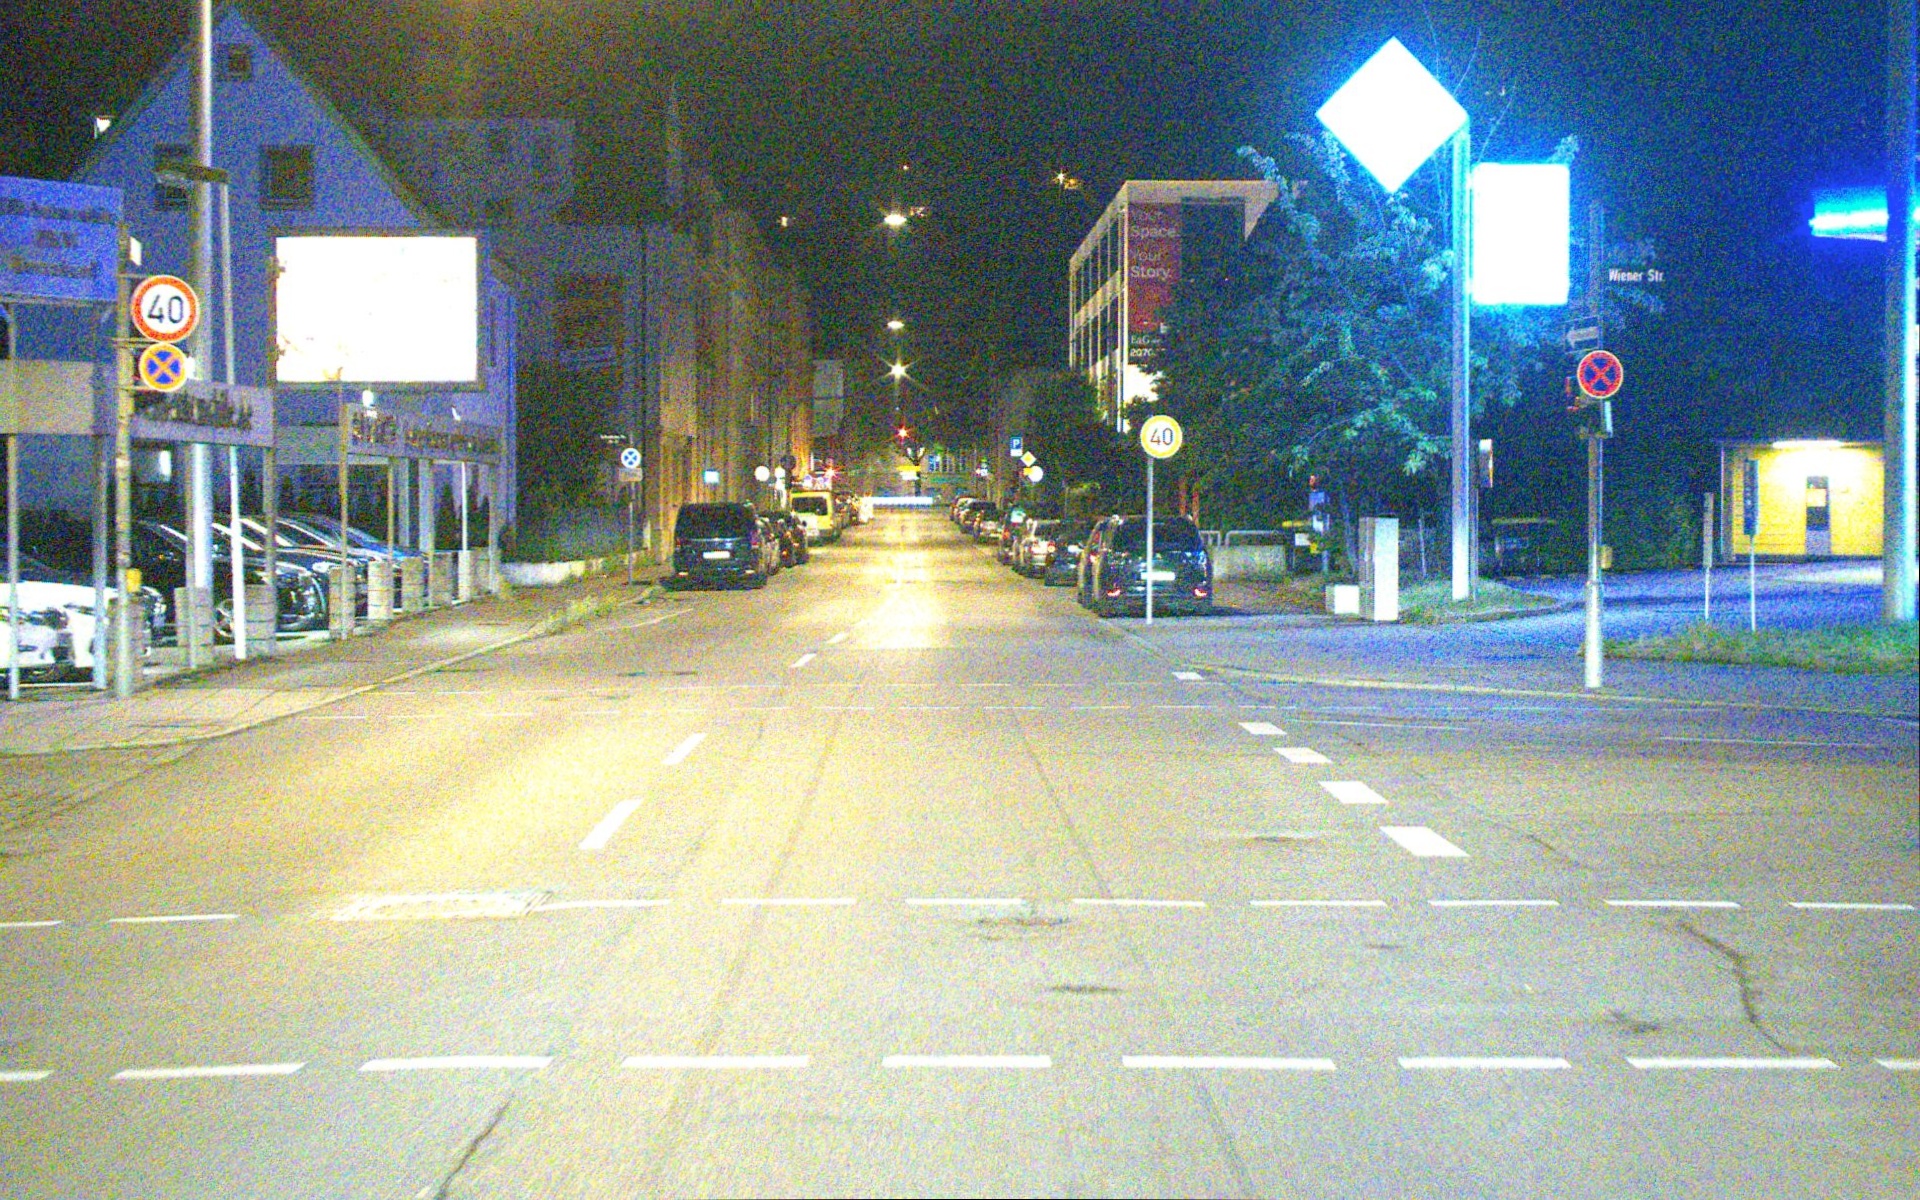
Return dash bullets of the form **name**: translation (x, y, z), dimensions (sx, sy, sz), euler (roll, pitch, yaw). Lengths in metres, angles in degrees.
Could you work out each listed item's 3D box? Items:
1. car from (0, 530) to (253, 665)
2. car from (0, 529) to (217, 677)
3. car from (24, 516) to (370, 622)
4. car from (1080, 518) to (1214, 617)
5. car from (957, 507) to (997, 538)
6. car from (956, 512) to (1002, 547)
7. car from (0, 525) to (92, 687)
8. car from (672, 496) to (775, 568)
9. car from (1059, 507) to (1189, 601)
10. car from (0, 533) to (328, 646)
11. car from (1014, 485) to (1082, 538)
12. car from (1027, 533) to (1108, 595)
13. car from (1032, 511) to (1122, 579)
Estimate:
- **car**: translation (-10.209, -0.047, 37.908), dimensions (4.439, 1.444, 2.000), euler (0, 1, -1)
- **car**: translation (-9.930, 0.009, 34.732), dimensions (4.438, 1.444, 2.000), euler (0, 1, -2)
- **car**: translation (-10.670, -0.439, 48.317), dimensions (4.439, 1.444, 2.000), euler (0, 1, -1)
- **car**: translation (3.001, -0.559, 55.771), dimensions (1.993, 1.511, 4.000), euler (1, 2, 1)
- **car**: translation (0.886, -3.931, 174.973), dimensions (1.993, 1.515, 4.000), euler (0, 1, 1)
- **car**: translation (0.870, -3.101, 151.866), dimensions (1.993, 1.515, 4.000), euler (0, 1, 1)
- **car**: translation (-10.476, 0.035, 31.742), dimensions (4.439, 1.444, 2.000), euler (0, 1, -1)
- **car**: translation (-5.082, -1.455, 74.289), dimensions (1.993, 1.497, 4.000), euler (0, 1, -1)
- **car**: translation (2.885, -0.846, 61.301), dimensions (1.993, 1.590, 4.001), euler (1, 2, -2)
- **car**: translation (-10.750, -0.151, 45.478), dimensions (4.439, 1.444, 2.000), euler (0, 1, -1)
- **car**: translation (2.626, -2.636, 102.994), dimensions (1.993, 1.515, 4.000), euler (0, 1, 1)
- **car**: translation (2.693, -0.907, 86.814), dimensions (1.993, 1.515, 4.000), euler (0, 1, 1)
- **car**: translation (2.670, -1.265, 79.252), dimensions (1.993, 1.515, 4.000), euler (0, 1, 1)
